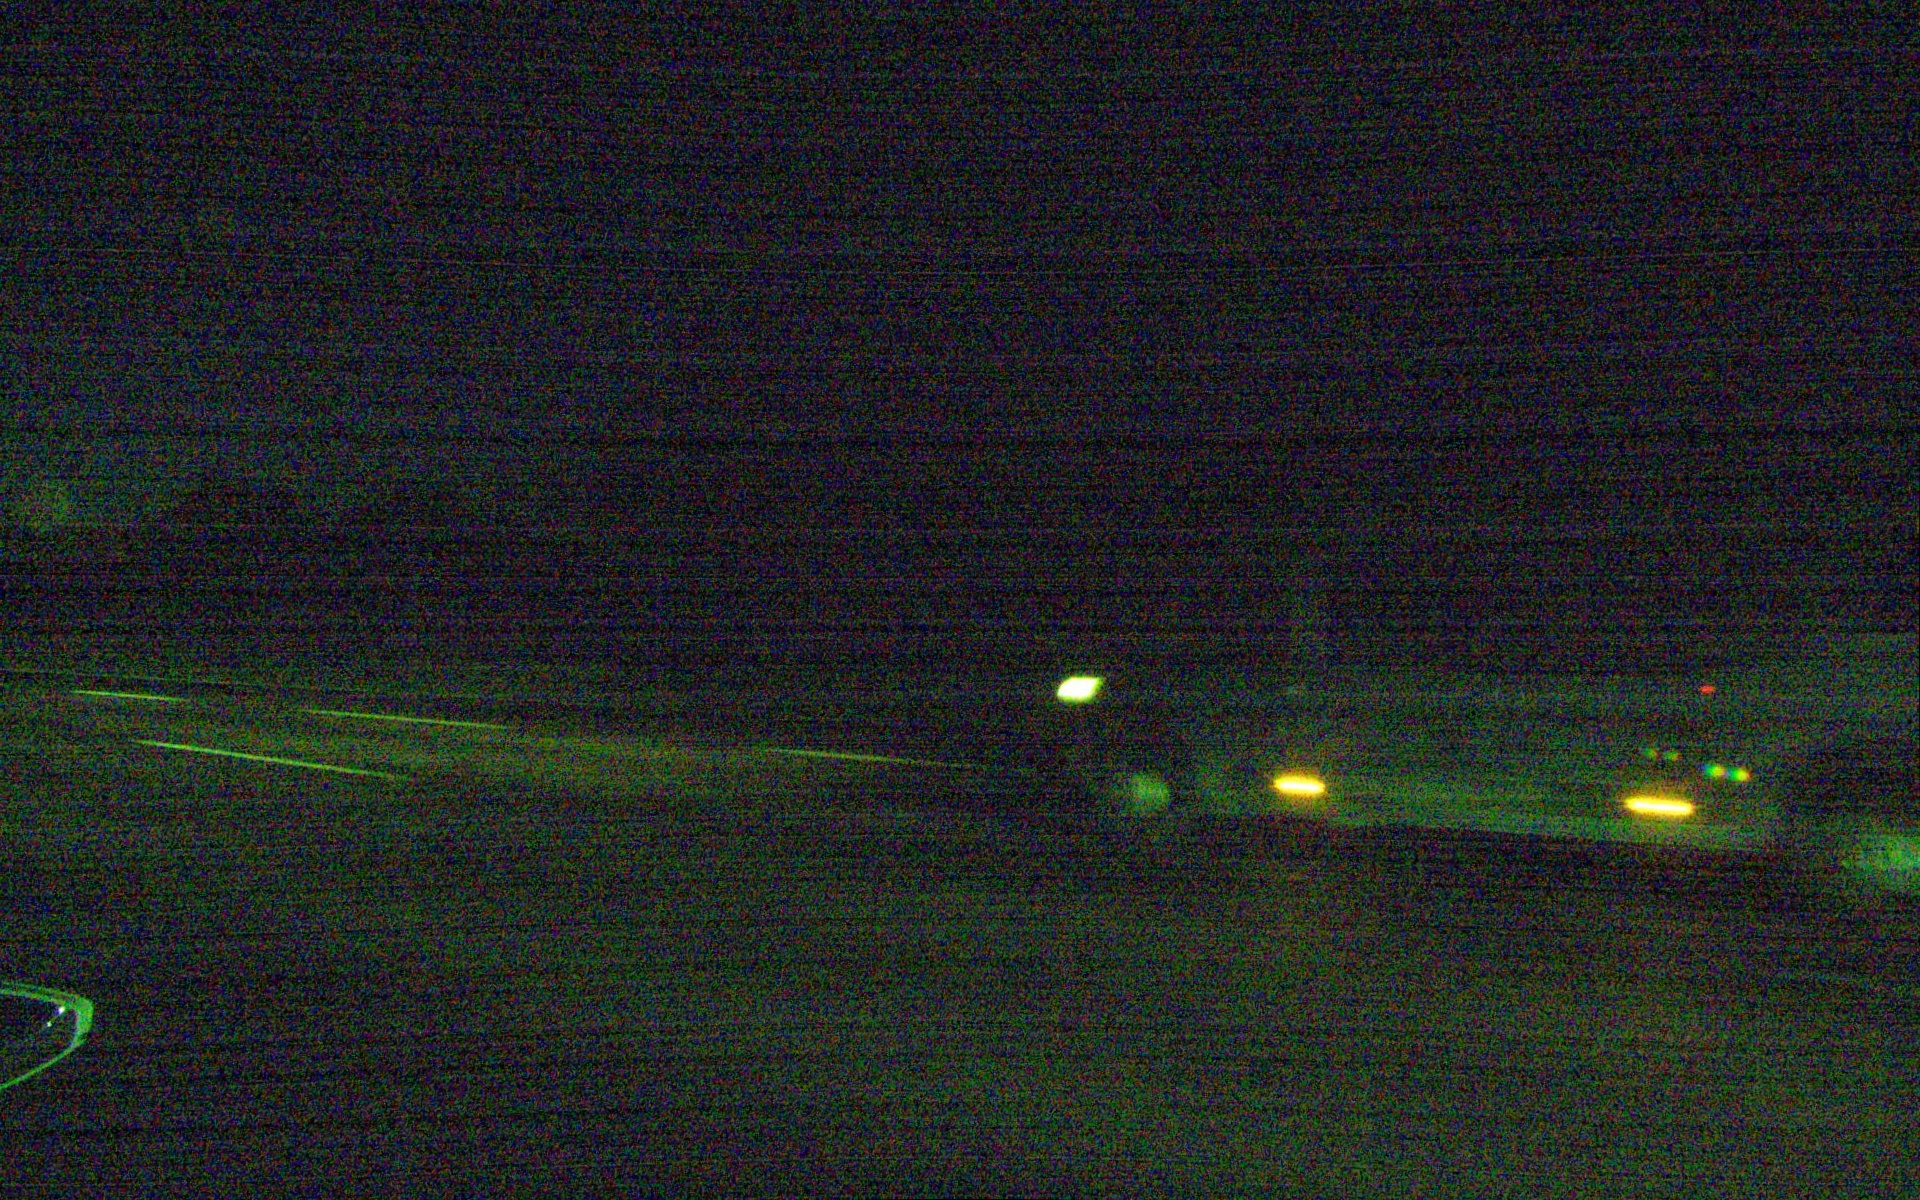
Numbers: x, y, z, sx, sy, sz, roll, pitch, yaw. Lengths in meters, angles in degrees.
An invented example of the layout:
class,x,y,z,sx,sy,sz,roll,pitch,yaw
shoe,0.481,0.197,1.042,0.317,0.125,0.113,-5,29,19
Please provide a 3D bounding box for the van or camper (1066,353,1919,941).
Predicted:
class,x,y,z,sx,sy,sz,roll,pitch,yaw
van or camper,4.180,0.262,6.333,6.706,2.807,2.203,-1,-1,32
